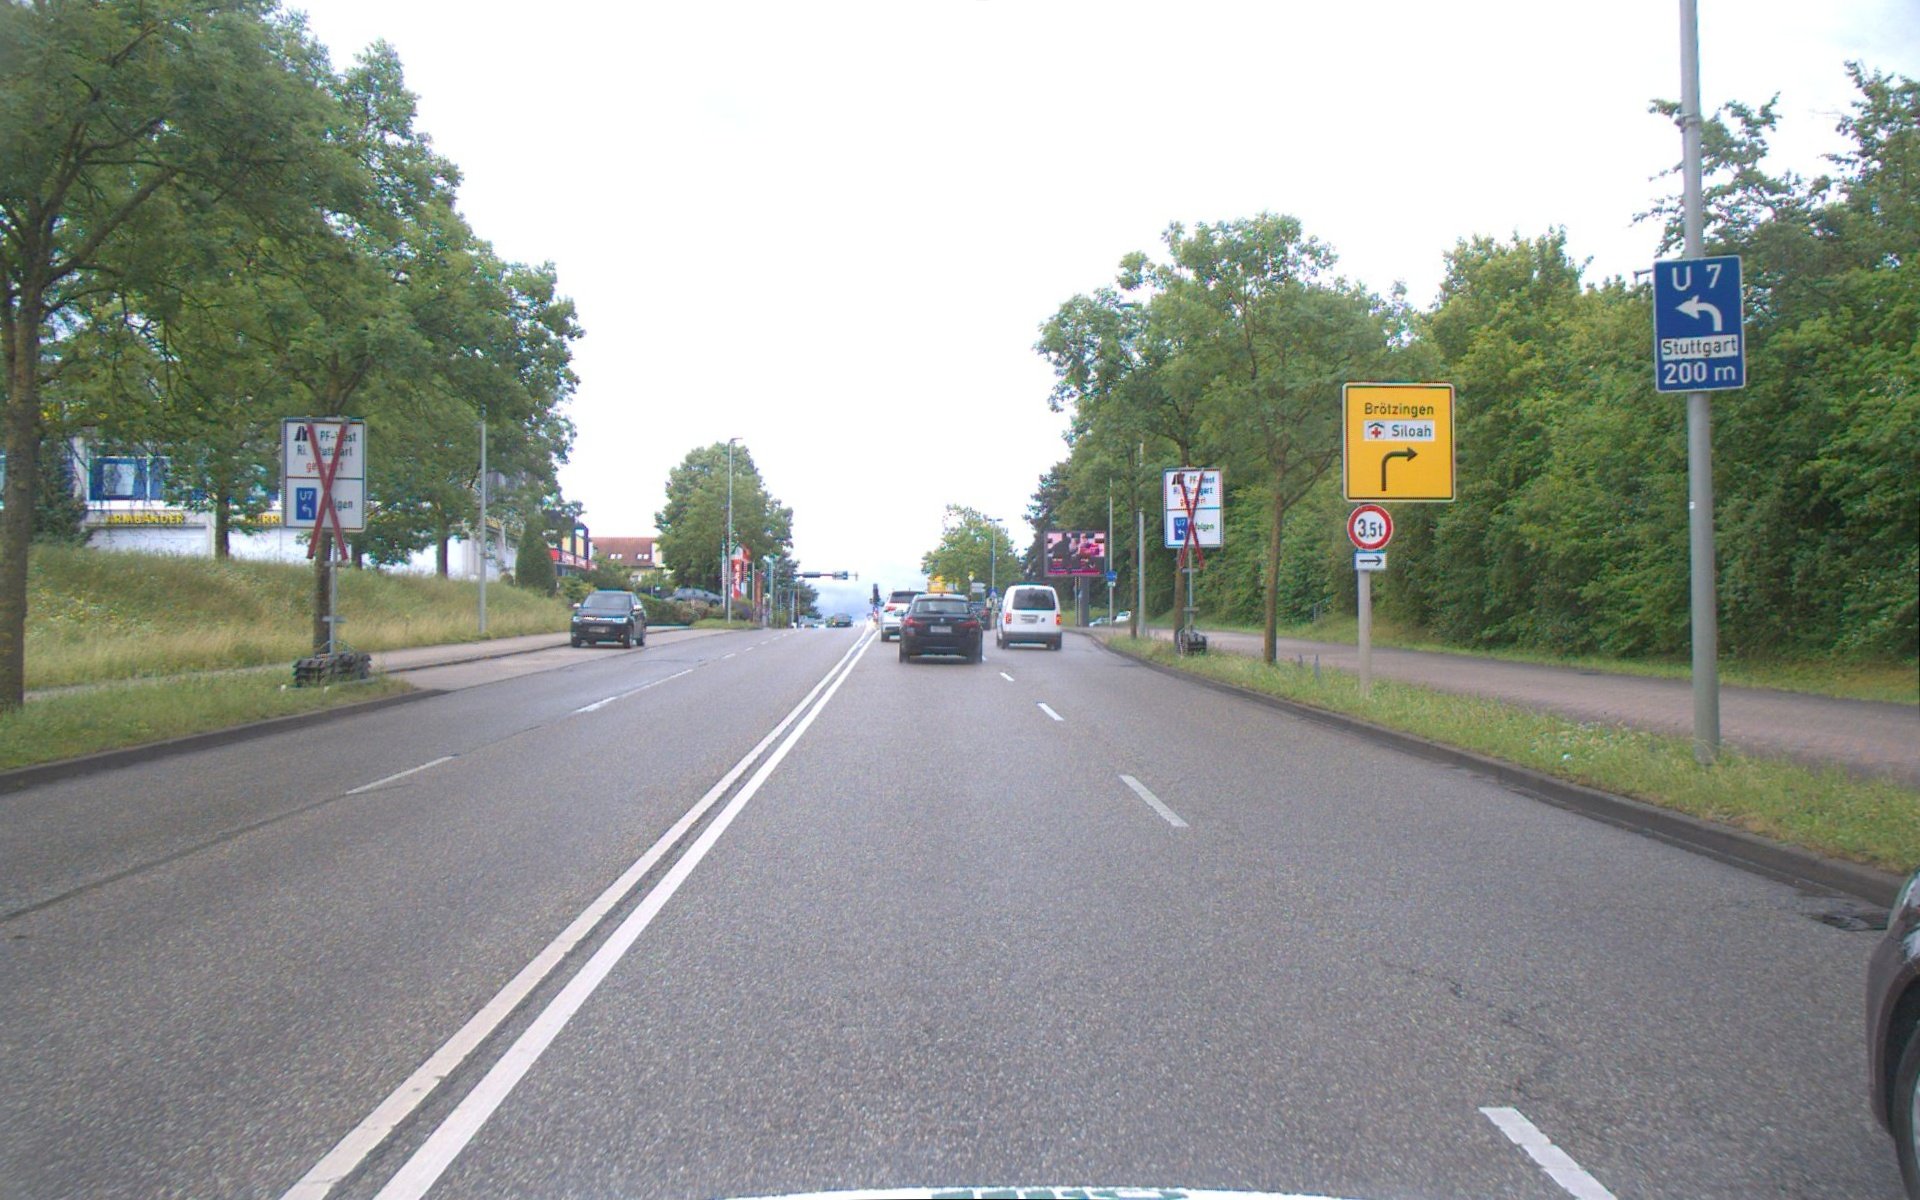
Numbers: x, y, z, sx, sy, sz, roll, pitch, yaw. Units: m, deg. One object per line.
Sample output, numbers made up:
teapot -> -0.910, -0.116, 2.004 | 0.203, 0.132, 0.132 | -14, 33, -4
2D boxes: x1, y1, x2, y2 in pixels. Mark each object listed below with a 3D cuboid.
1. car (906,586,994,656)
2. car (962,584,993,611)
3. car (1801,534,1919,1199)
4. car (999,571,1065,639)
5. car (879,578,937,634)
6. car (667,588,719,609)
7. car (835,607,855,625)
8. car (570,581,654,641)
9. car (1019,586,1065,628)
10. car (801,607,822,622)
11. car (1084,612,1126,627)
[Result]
car -> -0.198, 0.428, 36.828 | 1.817, 1.444, 3.957 | 1, 0, 0
car -> 0.916, -0.132, 87.415 | 1.568, 1.396, 3.679 | -1, 0, -1
car -> 3.181, 0.662, 2.480 | 1.679, 1.624, 4.129 | 1, 0, -1
car -> 2.058, 0.130, 48.364 | 1.706, 1.902, 3.945 | 1, 0, 0
car -> -1.643, 0.182, 53.317 | 1.692, 1.741, 3.383 | 1, 0, 1
car -> -19.554, -0.120, 121.317 | 3.756, 1.508, 1.738 | 0, -1, -10
car -> -10.680, 1.485, 153.865 | 1.760, 1.611, 4.195 | -1, 0, -3
car -> -10.539, 0.304, 50.385 | 1.691, 1.697, 4.486 | 1, 0, -2
car -> 3.540, 0.283, 71.903 | 1.777, 1.738, 3.945 | 0, 0, 0
car -> -14.914, 1.487, 166.431 | 1.757, 1.426, 4.298 | -1, 0, -2
car -> 14.605, 1.950, 166.762 | 3.929, 1.316, 1.599 | -2, 0, -21
